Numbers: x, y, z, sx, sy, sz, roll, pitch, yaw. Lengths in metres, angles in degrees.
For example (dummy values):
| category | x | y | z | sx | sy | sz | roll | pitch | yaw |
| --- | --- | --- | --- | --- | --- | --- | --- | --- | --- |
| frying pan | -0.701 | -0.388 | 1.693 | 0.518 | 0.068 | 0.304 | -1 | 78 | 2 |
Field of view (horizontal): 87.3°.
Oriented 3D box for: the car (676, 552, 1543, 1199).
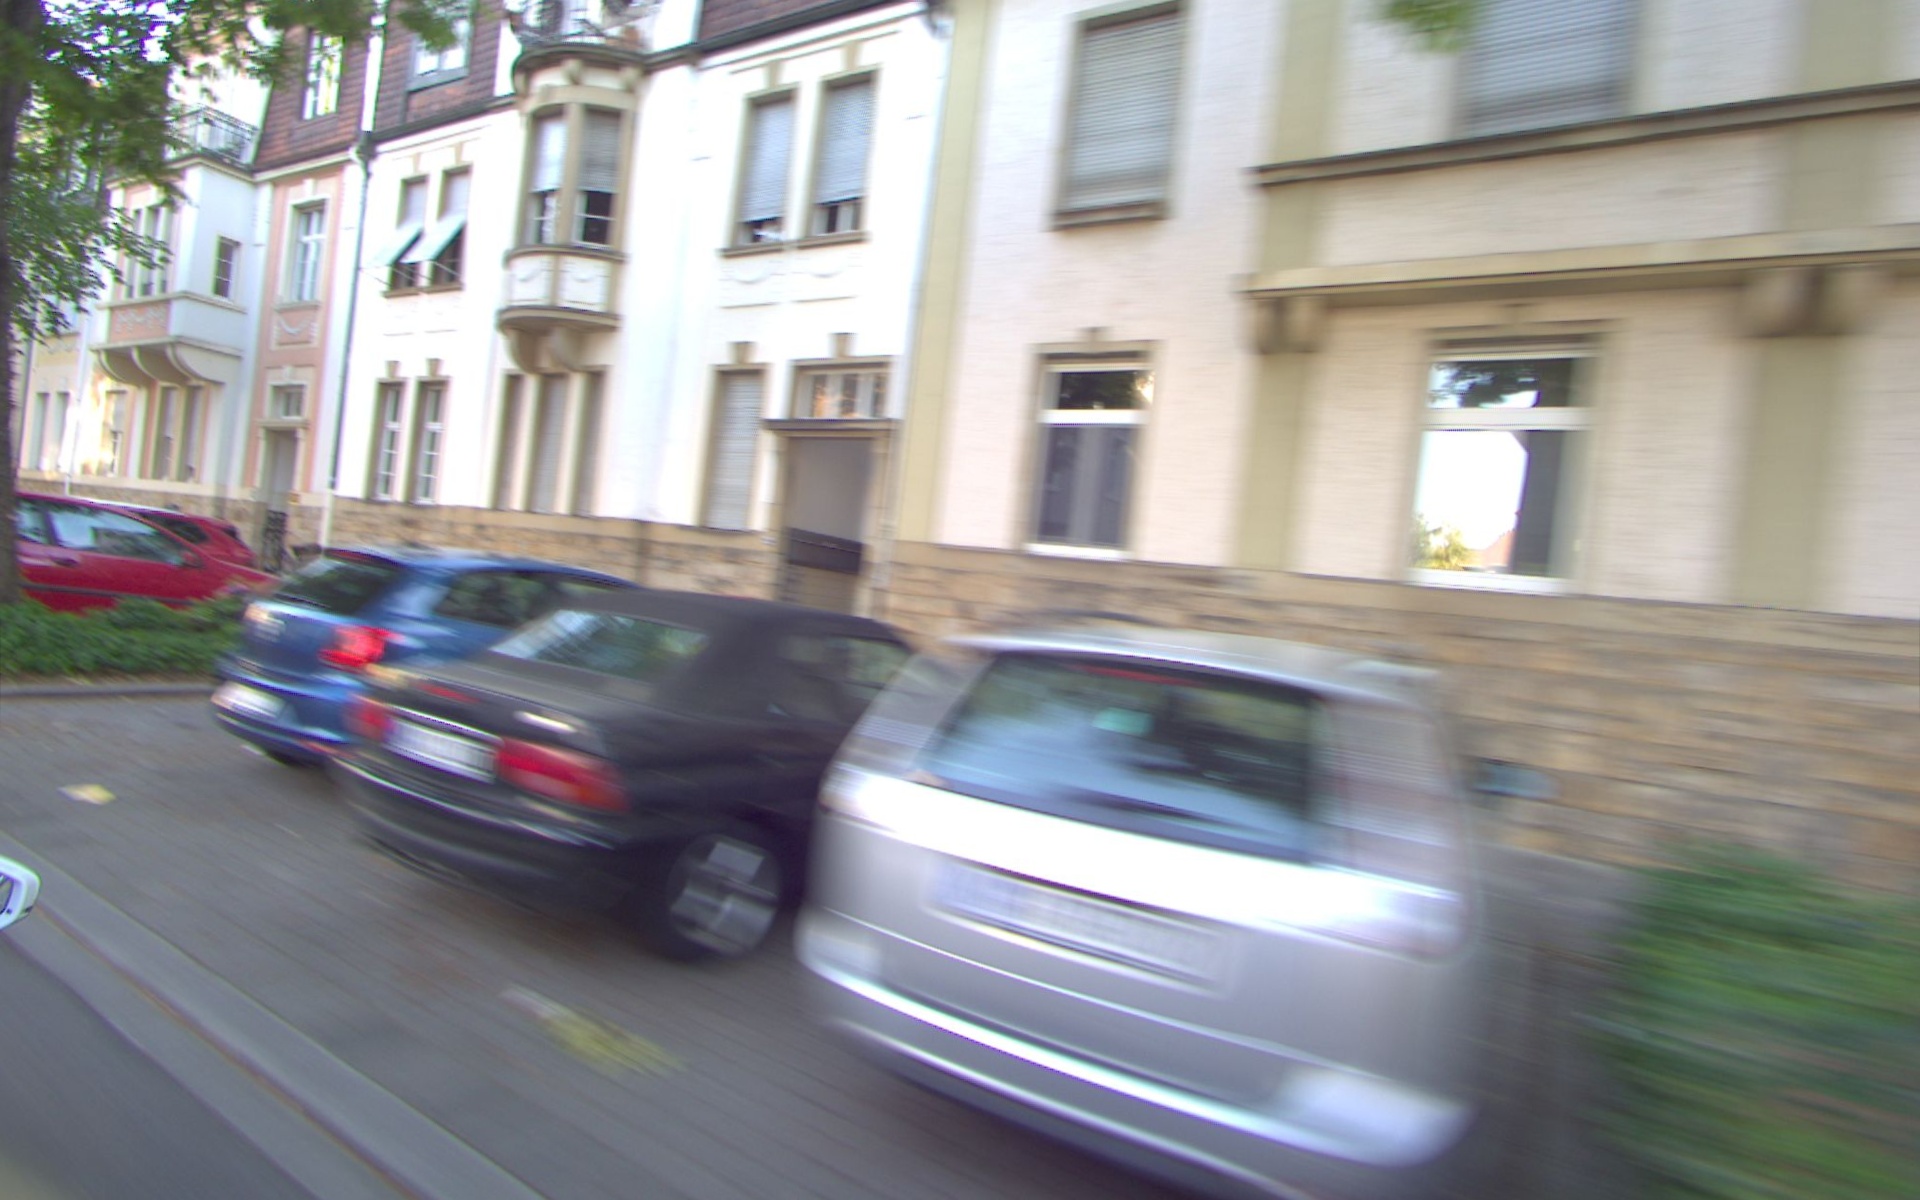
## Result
| category | x | y | z | sx | sy | sz | roll | pitch | yaw |
| --- | --- | --- | --- | --- | --- | --- | --- | --- | --- |
| car | 1.057 | 0.900 | 3.937 | 1.682 | 1.596 | 4.156 | 7 | 0 | 27 |

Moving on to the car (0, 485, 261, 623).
| category | x | y | z | sx | sy | sz | roll | pitch | yaw |
| --- | --- | --- | --- | --- | --- | --- | --- | --- | --- |
| car | -11.125 | -0.601 | 11.783 | 1.847 | 1.437 | 4.410 | 7 | 2 | 34 |

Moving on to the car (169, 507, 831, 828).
| category | x | y | z | sx | sy | sz | roll | pitch | yaw |
| --- | --- | --- | --- | --- | --- | --- | --- | --- | --- |
| car | -2.784 | 0.436 | 6.910 | 1.535 | 1.501 | 3.796 | 7 | 0 | 34 |

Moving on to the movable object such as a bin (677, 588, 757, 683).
| category | x | y | z | sx | sy | sz | roll | pitch | yaw |
| --- | --- | --- | --- | --- | --- | --- | --- | --- | --- |
| movable object such as a bin | -2.947 | 0.417 | 12.206 | 0.532 | 1.064 | 0.700 | 8 | 4 | 31 |

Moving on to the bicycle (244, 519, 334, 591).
| category | x | y | z | sx | sy | sz | roll | pitch | yaw |
| --- | --- | --- | --- | --- | --- | --- | --- | --- | --- |
| bicycle | -11.980 | -0.816 | 17.934 | 2.011 | 1.071 | 0.474 | 7 | 3 | 31 |

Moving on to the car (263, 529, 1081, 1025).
| category | x | y | z | sx | sy | sz | roll | pitch | yaw |
| --- | --- | --- | --- | --- | --- | --- | --- | --- | --- |
| car | -1.045 | 0.665 | 5.263 | 1.787 | 1.455 | 3.798 | 7 | 0 | 31 |

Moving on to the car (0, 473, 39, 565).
| category | x | y | z | sx | sy | sz | roll | pitch | yaw |
| --- | --- | --- | --- | --- | --- | --- | --- | --- | --- |
| car | -18.643 | -1.626 | 17.033 | 1.846 | 1.591 | 4.112 | 7 | 1 | 32 |

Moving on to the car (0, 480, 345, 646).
| category | x | y | z | sx | sy | sz | roll | pitch | yaw |
| --- | --- | --- | --- | --- | --- | --- | --- | --- | --- |
| car | -9.074 | -0.392 | 10.418 | 1.822 | 1.495 | 4.189 | 7 | 2 | 34 |
